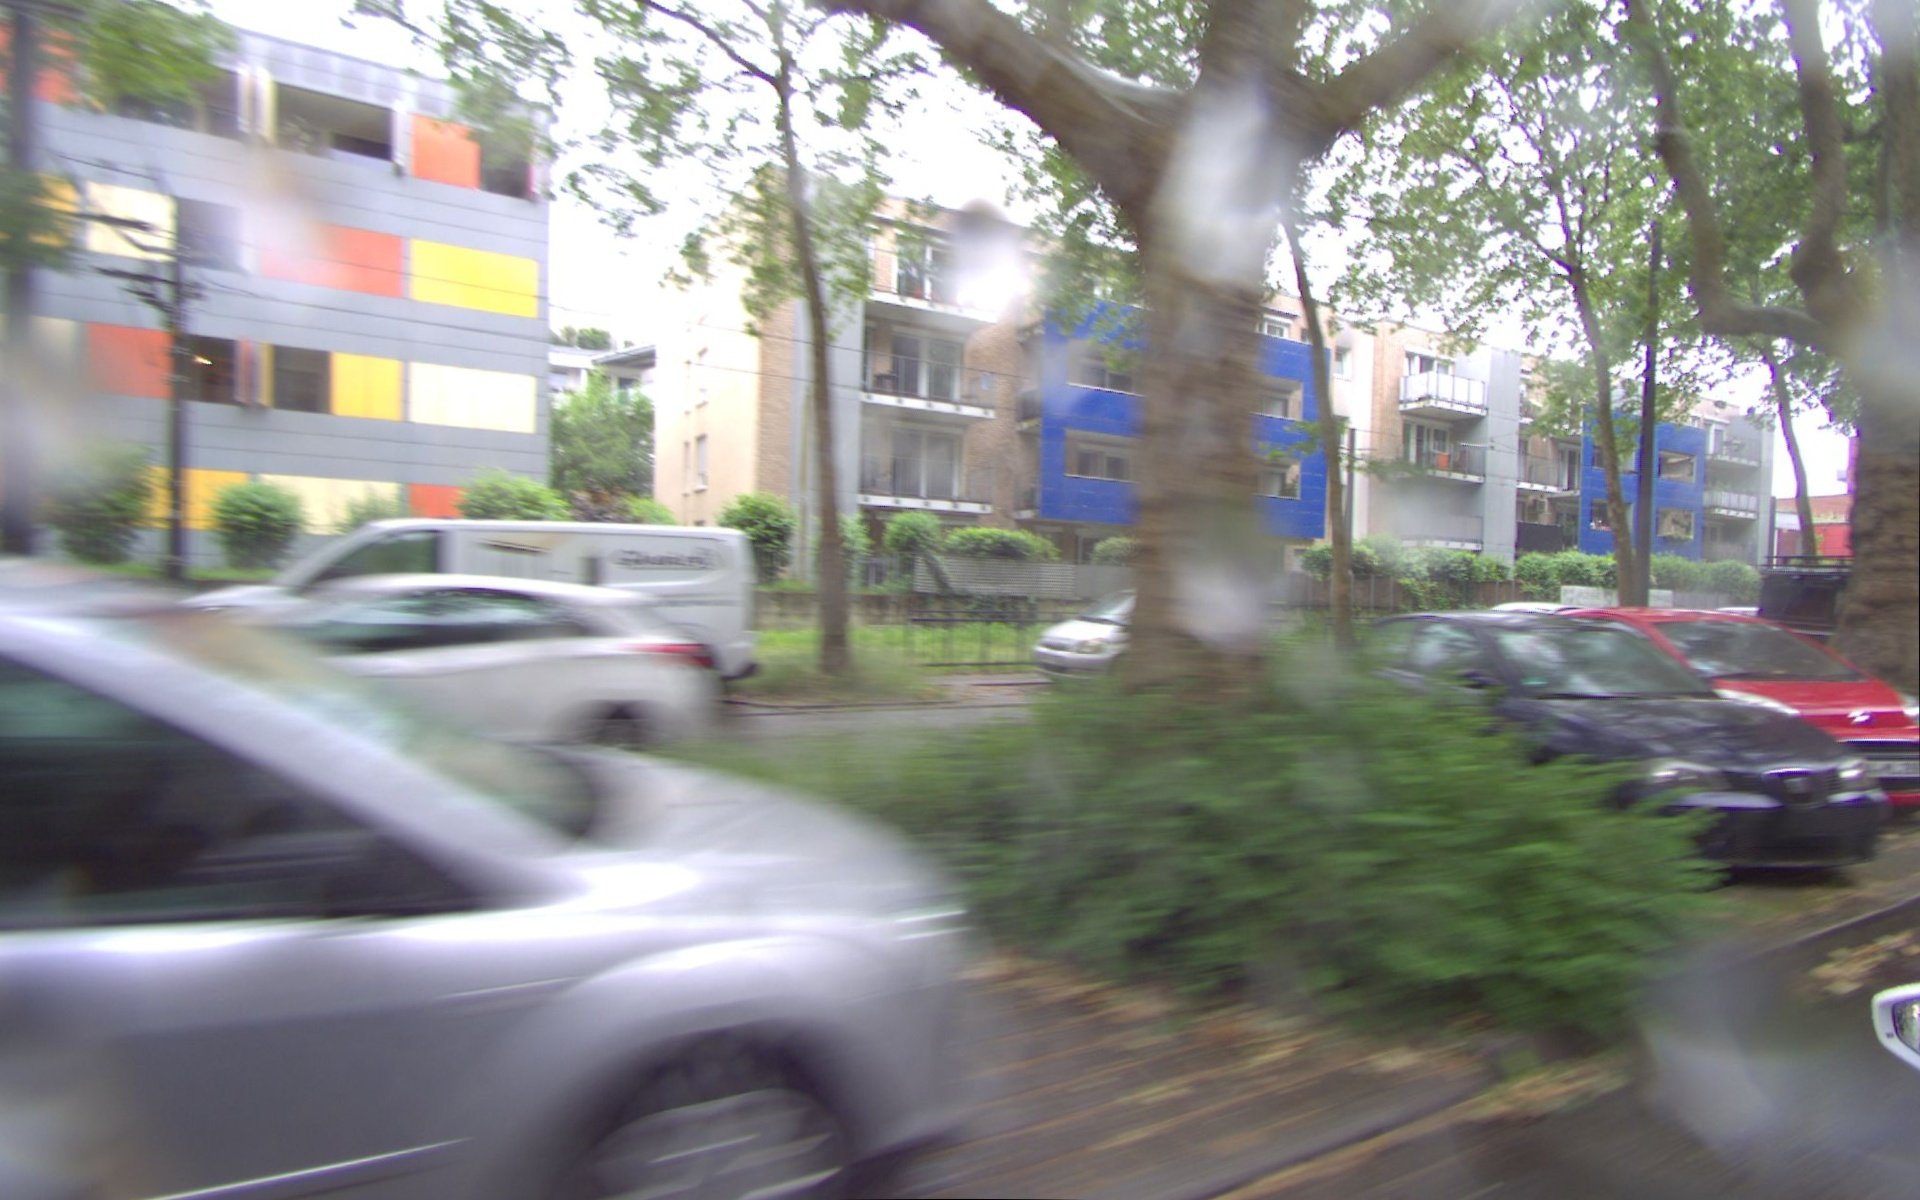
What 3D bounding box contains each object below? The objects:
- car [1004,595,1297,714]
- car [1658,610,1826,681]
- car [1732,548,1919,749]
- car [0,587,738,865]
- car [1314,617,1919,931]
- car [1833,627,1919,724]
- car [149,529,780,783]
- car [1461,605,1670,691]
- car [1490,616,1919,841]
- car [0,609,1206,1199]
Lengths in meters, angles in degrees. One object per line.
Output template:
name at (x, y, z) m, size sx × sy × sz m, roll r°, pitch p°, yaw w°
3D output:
car at (2.906, 0.716, 15.096) m, size 4.168 × 1.554 × 1.894 m, roll 0°, pitch 1°, yaw -32°
car at (19.005, 1.033, 24.370) m, size 4.168 × 1.554 × 1.894 m, roll 0°, pitch 1°, yaw -32°
car at (12.043, 0.565, 12.187) m, size 1.971 × 2.313 × 4.662 m, roll 0°, pitch -1°, yaw 4°
car at (-3.769, 0.667, 7.041) m, size 3.955 × 1.439 × 1.824 m, roll 1°, pitch 1°, yaw -32°
car at (4.112, 0.852, 6.813) m, size 1.747 × 1.454 × 4.044 m, roll 0°, pitch -1°, yaw -5°
car at (14.514, 1.070, 13.272) m, size 1.811 × 1.343 × 4.659 m, roll 0°, pitch -1°, yaw -2°
car at (-4.767, 0.415, 10.353) m, size 5.377 × 2.024 × 2.041 m, roll 0°, pitch 2°, yaw -34°
car at (12.462, 0.899, 20.611) m, size 4.371 × 1.554 × 1.894 m, roll 0°, pitch 1°, yaw -32°
car at (6.271, 0.875, 8.384) m, size 1.747 × 1.455 × 3.502 m, roll 0°, pitch -1°, yaw -2°
car at (-1.697, 0.817, 1.963) m, size 4.155 × 1.535 × 1.722 m, roll 0°, pitch 1°, yaw -28°
